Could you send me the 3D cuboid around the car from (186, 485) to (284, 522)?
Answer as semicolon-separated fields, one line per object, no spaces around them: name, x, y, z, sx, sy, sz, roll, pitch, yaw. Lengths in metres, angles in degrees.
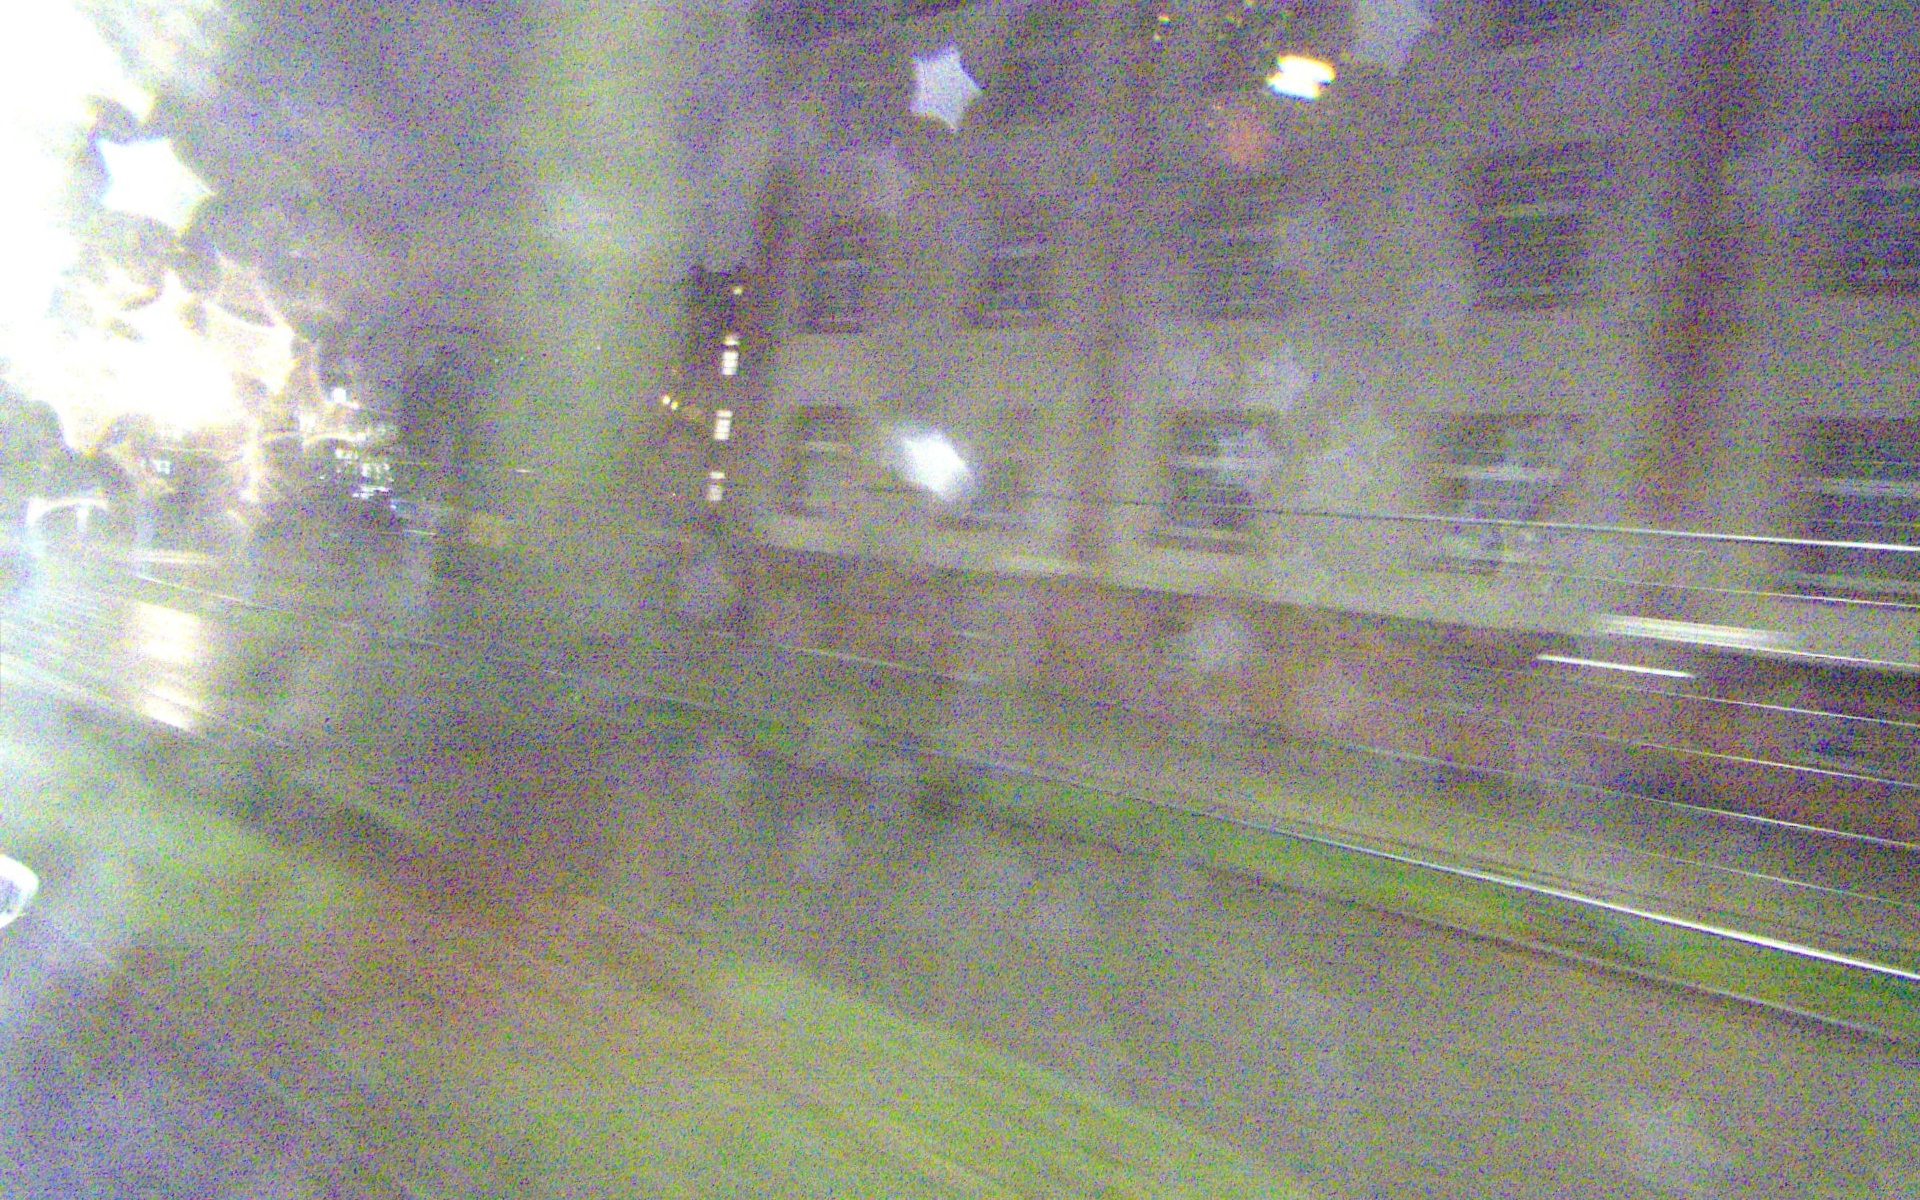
car;-39.874;-5.292;55.446;1.652;1.371;3.993;8;1;28

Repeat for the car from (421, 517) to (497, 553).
car;-32.461;-4.203;65.288;1.677;1.803;3.990;8;1;32

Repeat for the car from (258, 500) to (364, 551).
car;-25.904;-2.981;40.114;4.188;1.485;1.829;7;0;32

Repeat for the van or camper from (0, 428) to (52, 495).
van or camper;-41.851;-6.125;42.193;2.135;2.559;5.065;8;2;32

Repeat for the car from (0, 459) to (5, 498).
car;-39.239;-4.983;39.548;3.350;1.488;1.564;8;2;31

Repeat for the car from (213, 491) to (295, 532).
car;-33.830;-4.252;48.176;4.190;1.432;1.680;8;1;33
